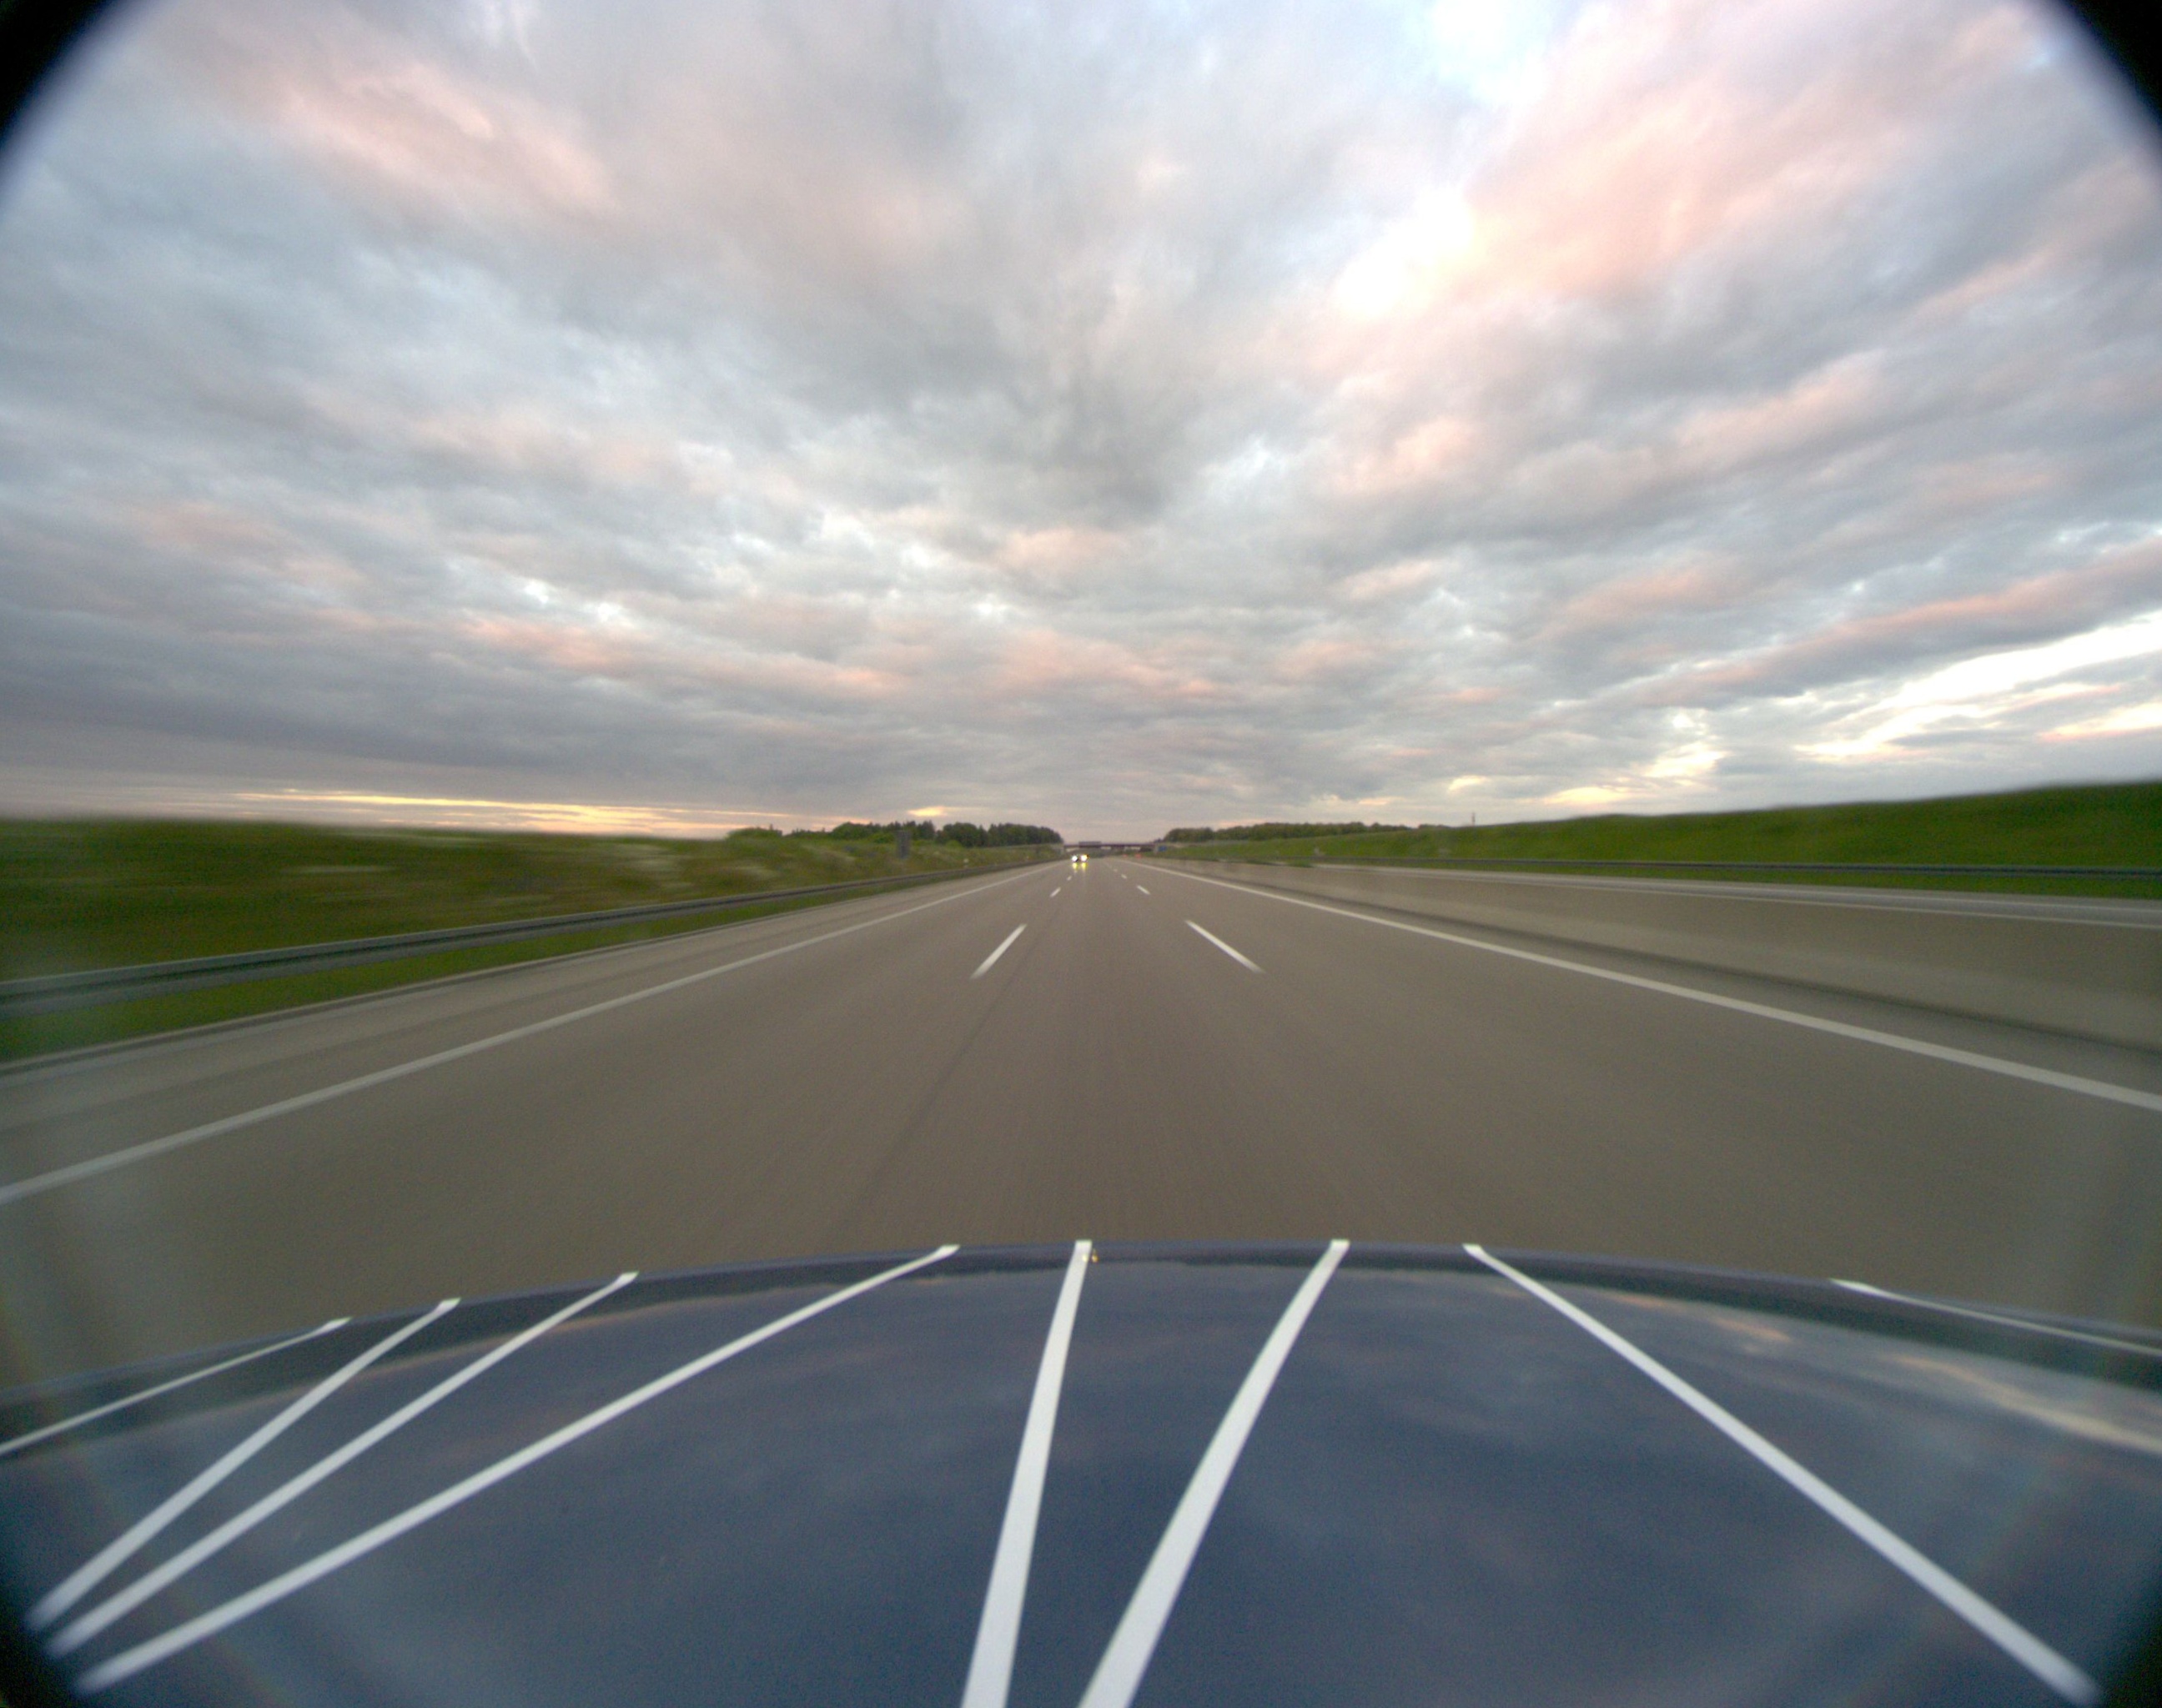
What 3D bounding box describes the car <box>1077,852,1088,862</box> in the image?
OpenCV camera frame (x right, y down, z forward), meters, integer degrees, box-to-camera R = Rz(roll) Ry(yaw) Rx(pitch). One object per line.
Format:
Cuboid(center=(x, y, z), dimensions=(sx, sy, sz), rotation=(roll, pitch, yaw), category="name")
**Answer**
Cuboid(center=(0.211, 0.434, 130.560), dimensions=(1.801, 1.674, 4.385), rotation=(-1, 1, 1), category="car")
